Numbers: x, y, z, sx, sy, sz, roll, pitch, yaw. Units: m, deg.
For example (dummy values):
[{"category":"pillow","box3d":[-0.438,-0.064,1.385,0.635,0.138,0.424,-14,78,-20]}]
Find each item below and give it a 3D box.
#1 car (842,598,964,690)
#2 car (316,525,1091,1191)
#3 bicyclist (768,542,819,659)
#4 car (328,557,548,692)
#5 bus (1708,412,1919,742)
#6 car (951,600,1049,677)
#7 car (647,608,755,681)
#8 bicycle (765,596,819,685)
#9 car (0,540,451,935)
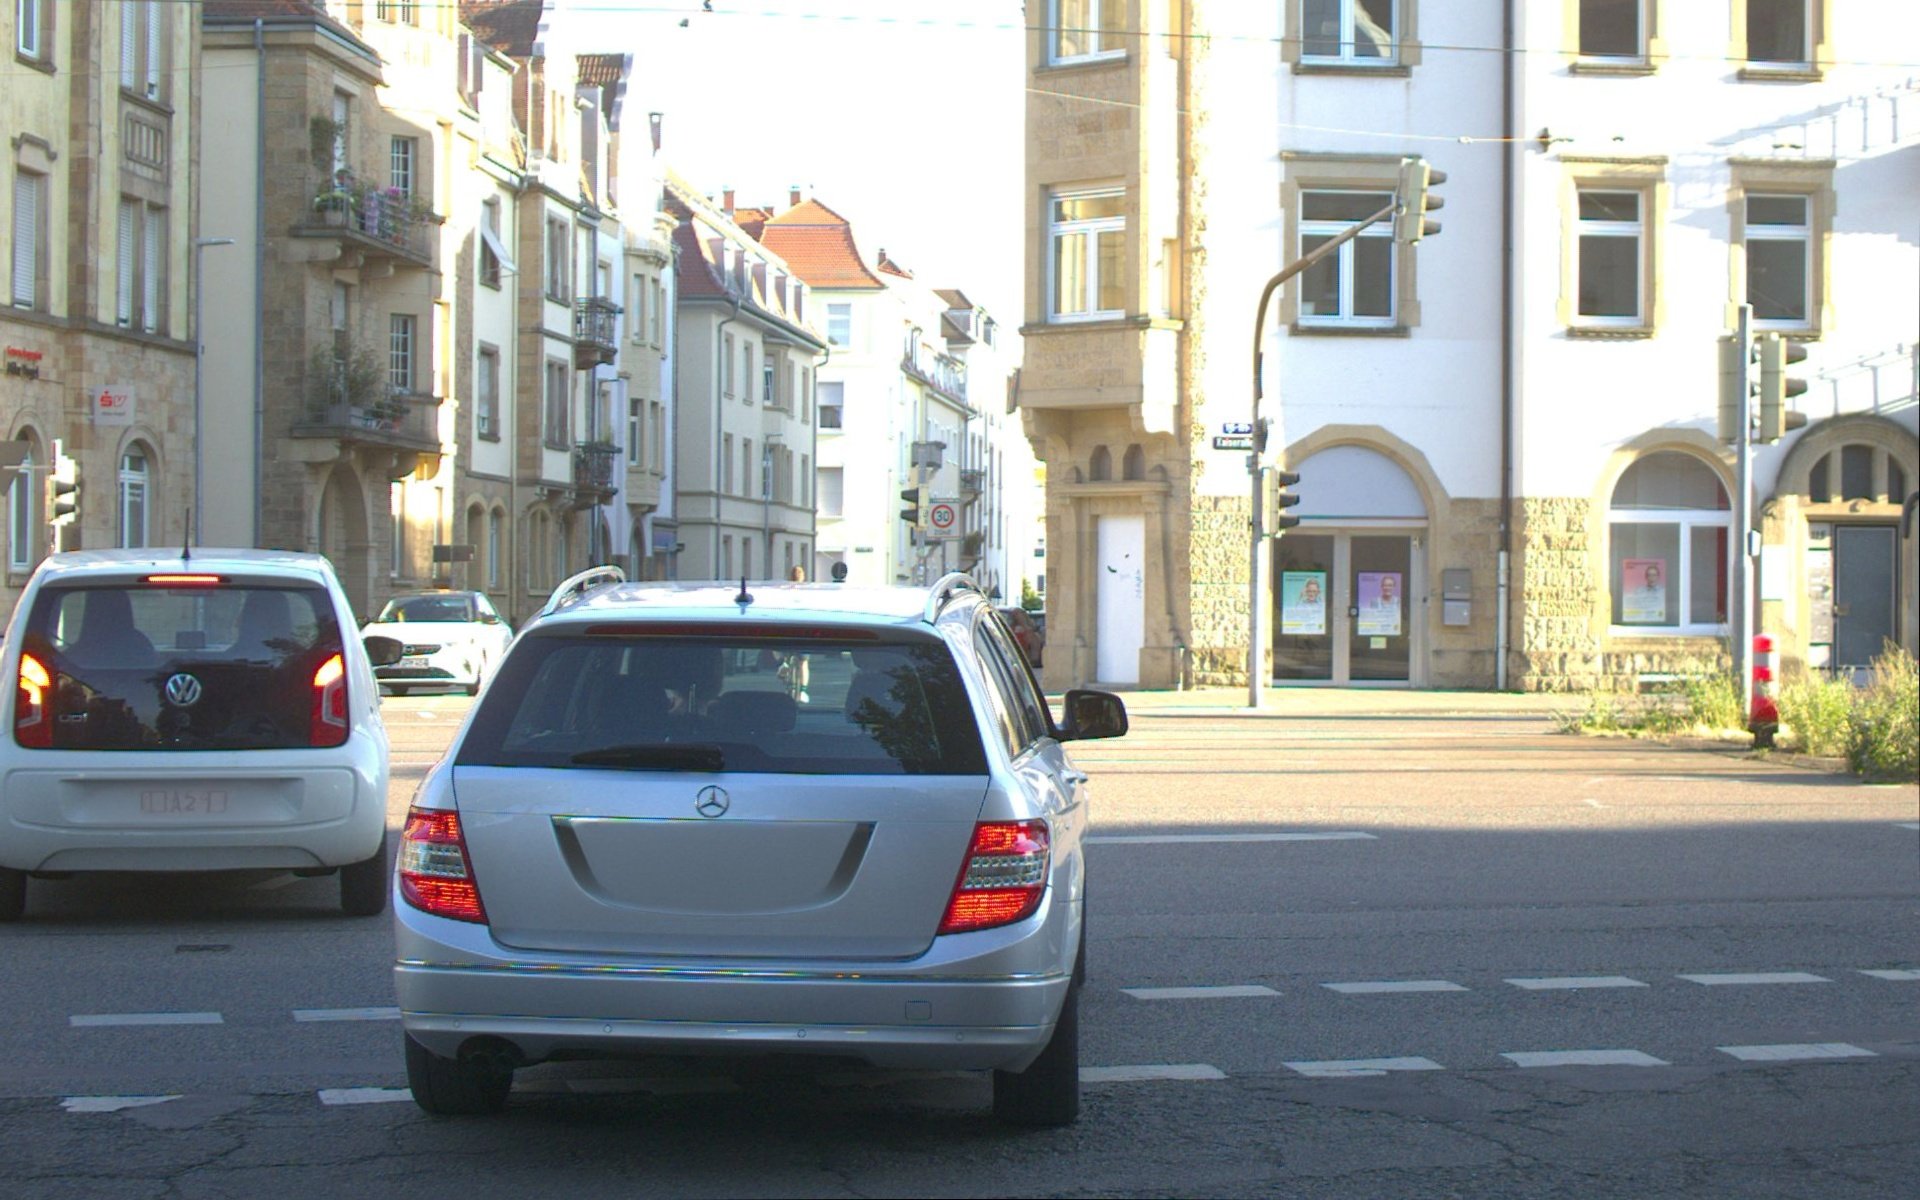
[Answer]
[{"category":"car","box3d":[-1.034,0.797,64.291,1.830,1.610,3.999,2,0,5]},{"category":"car","box3d":[-0.511,0.582,9.948,1.732,1.472,4.172,2,0,2]},{"category":"bicyclist","box3d":[-2.173,0.002,44.721,0.610,1.488,0.767,2,0,-4]},{"category":"car","box3d":[-7.026,0.320,46.683,1.830,1.700,3.999,2,0,8]},{"category":"bus","box3d":[13.533,-0.126,37.562,9.864,3.362,3.277,2,0,-7]},{"category":"car","box3d":[0.953,0.869,80.227,1.830,1.700,3.999,2,0,7]},{"category":"car","box3d":[-6.019,1.018,80.344,1.830,1.610,3.999,2,0,5]},{"category":"bicycle","box3d":[-2.196,0.514,44.800,0.619,1.101,2.553,2,0,-4]},{"category":"car","box3d":[-3.212,0.514,15.024,1.731,1.475,3.815,2,0,-6]}]
